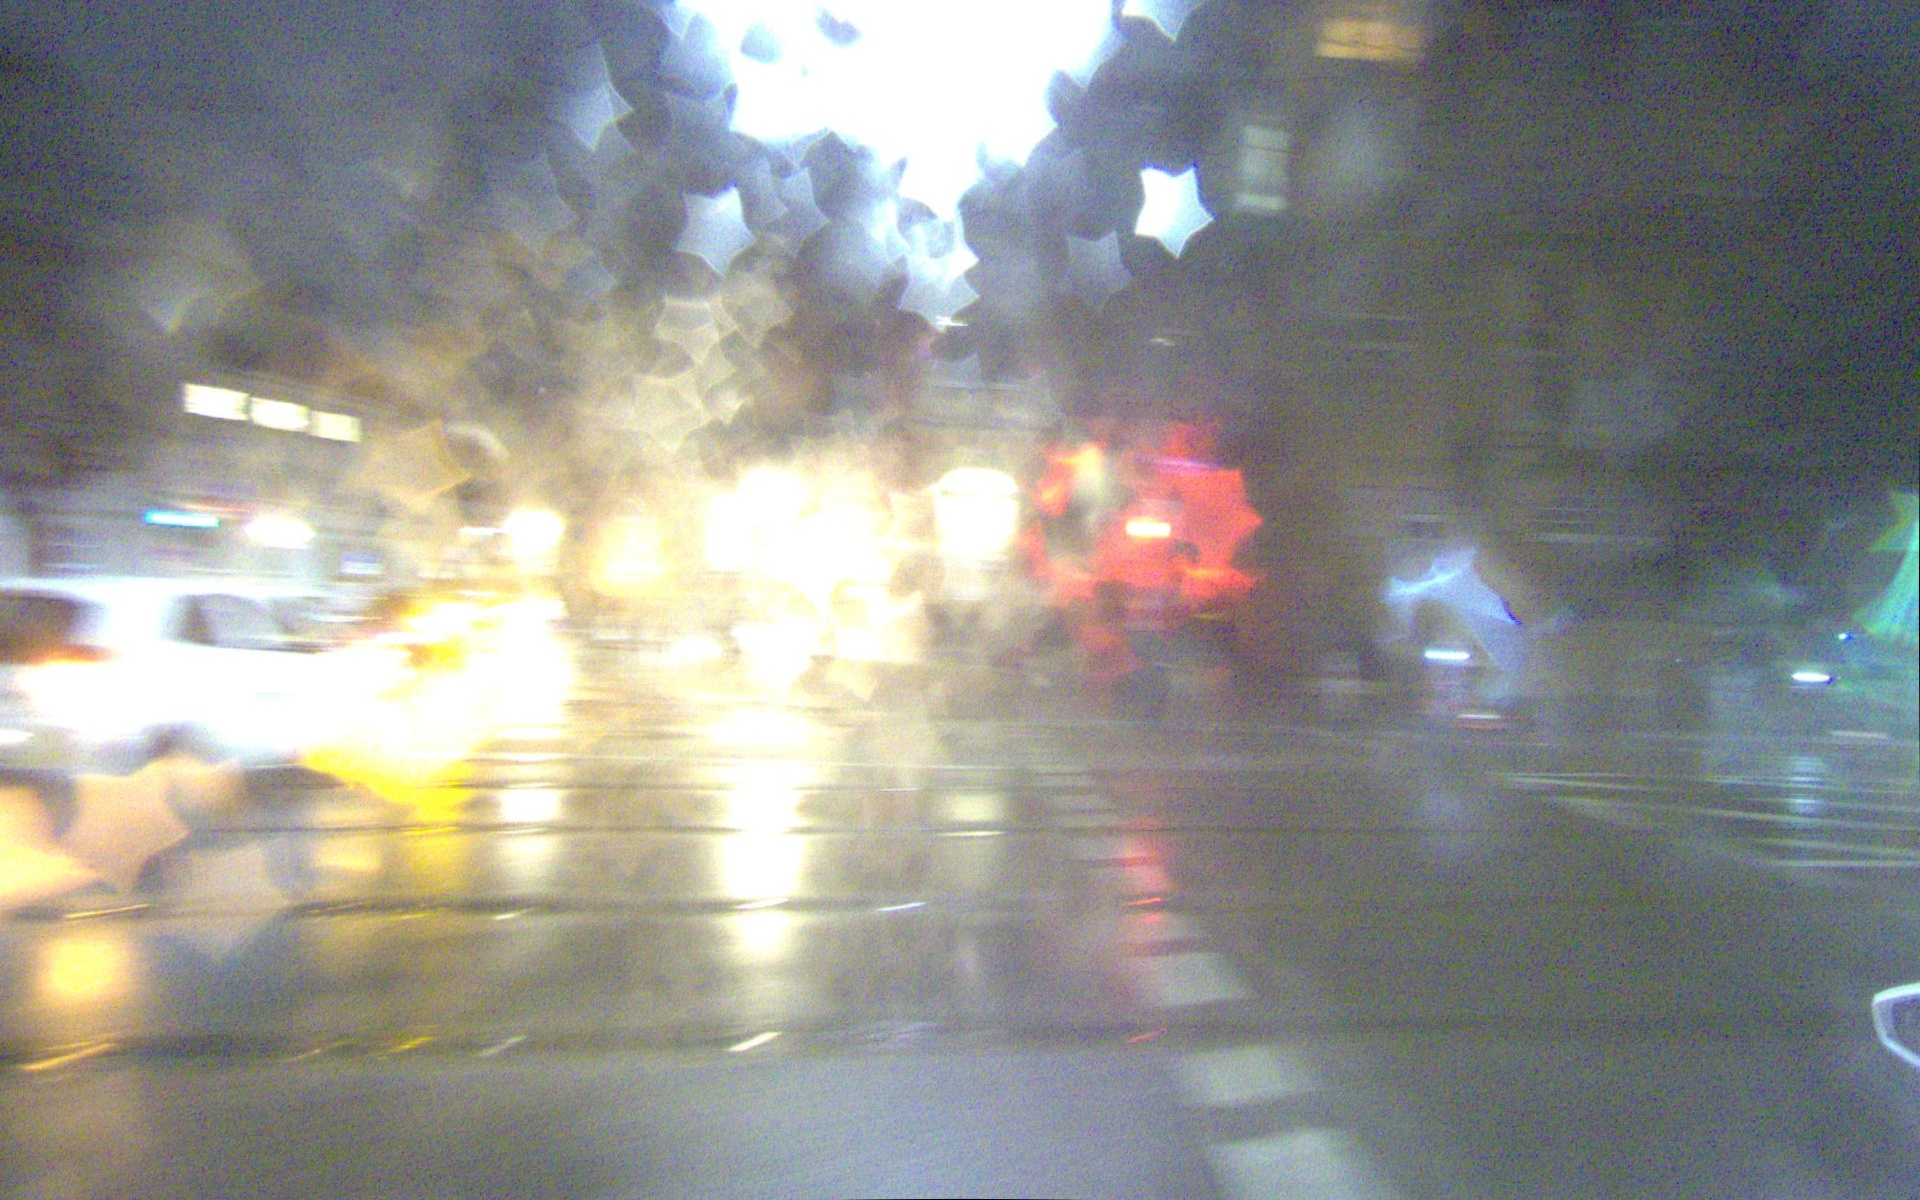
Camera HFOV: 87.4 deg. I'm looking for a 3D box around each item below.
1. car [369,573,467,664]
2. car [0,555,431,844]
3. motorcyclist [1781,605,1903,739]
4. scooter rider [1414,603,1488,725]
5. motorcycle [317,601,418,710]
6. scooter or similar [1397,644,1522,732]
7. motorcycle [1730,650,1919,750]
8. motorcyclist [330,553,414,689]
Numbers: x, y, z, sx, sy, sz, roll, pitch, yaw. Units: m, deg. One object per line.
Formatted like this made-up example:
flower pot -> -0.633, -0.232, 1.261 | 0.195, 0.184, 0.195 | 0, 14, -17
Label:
car -> -12.146, 0.353, 22.572 | 1.732, 1.763, 3.770 | 3, 1, -28
car -> -5.671, 0.497, 7.199 | 1.888, 1.536, 3.597 | 2, 0, -2
motorcyclist -> 12.089, 0.969, 13.798 | 1.008, 1.753, 0.710 | 2, -2, 9
scooter rider -> 6.784, 0.861, 13.909 | 0.639, 1.594, 0.642 | 3, 3, 5
motorcycle -> -7.773, 0.687, 13.275 | 0.781, 1.229, 2.238 | 3, 1, -22
scooter or similar -> 6.879, 1.202, 13.876 | 1.341, 1.066, 0.642 | 3, 3, 5
motorcycle -> 12.074, 1.359, 13.810 | 2.278, 1.246, 0.710 | 2, -2, 9
motorcyclist -> -7.718, 0.263, 13.213 | 0.781, 1.717, 0.815 | 3, 1, -23
